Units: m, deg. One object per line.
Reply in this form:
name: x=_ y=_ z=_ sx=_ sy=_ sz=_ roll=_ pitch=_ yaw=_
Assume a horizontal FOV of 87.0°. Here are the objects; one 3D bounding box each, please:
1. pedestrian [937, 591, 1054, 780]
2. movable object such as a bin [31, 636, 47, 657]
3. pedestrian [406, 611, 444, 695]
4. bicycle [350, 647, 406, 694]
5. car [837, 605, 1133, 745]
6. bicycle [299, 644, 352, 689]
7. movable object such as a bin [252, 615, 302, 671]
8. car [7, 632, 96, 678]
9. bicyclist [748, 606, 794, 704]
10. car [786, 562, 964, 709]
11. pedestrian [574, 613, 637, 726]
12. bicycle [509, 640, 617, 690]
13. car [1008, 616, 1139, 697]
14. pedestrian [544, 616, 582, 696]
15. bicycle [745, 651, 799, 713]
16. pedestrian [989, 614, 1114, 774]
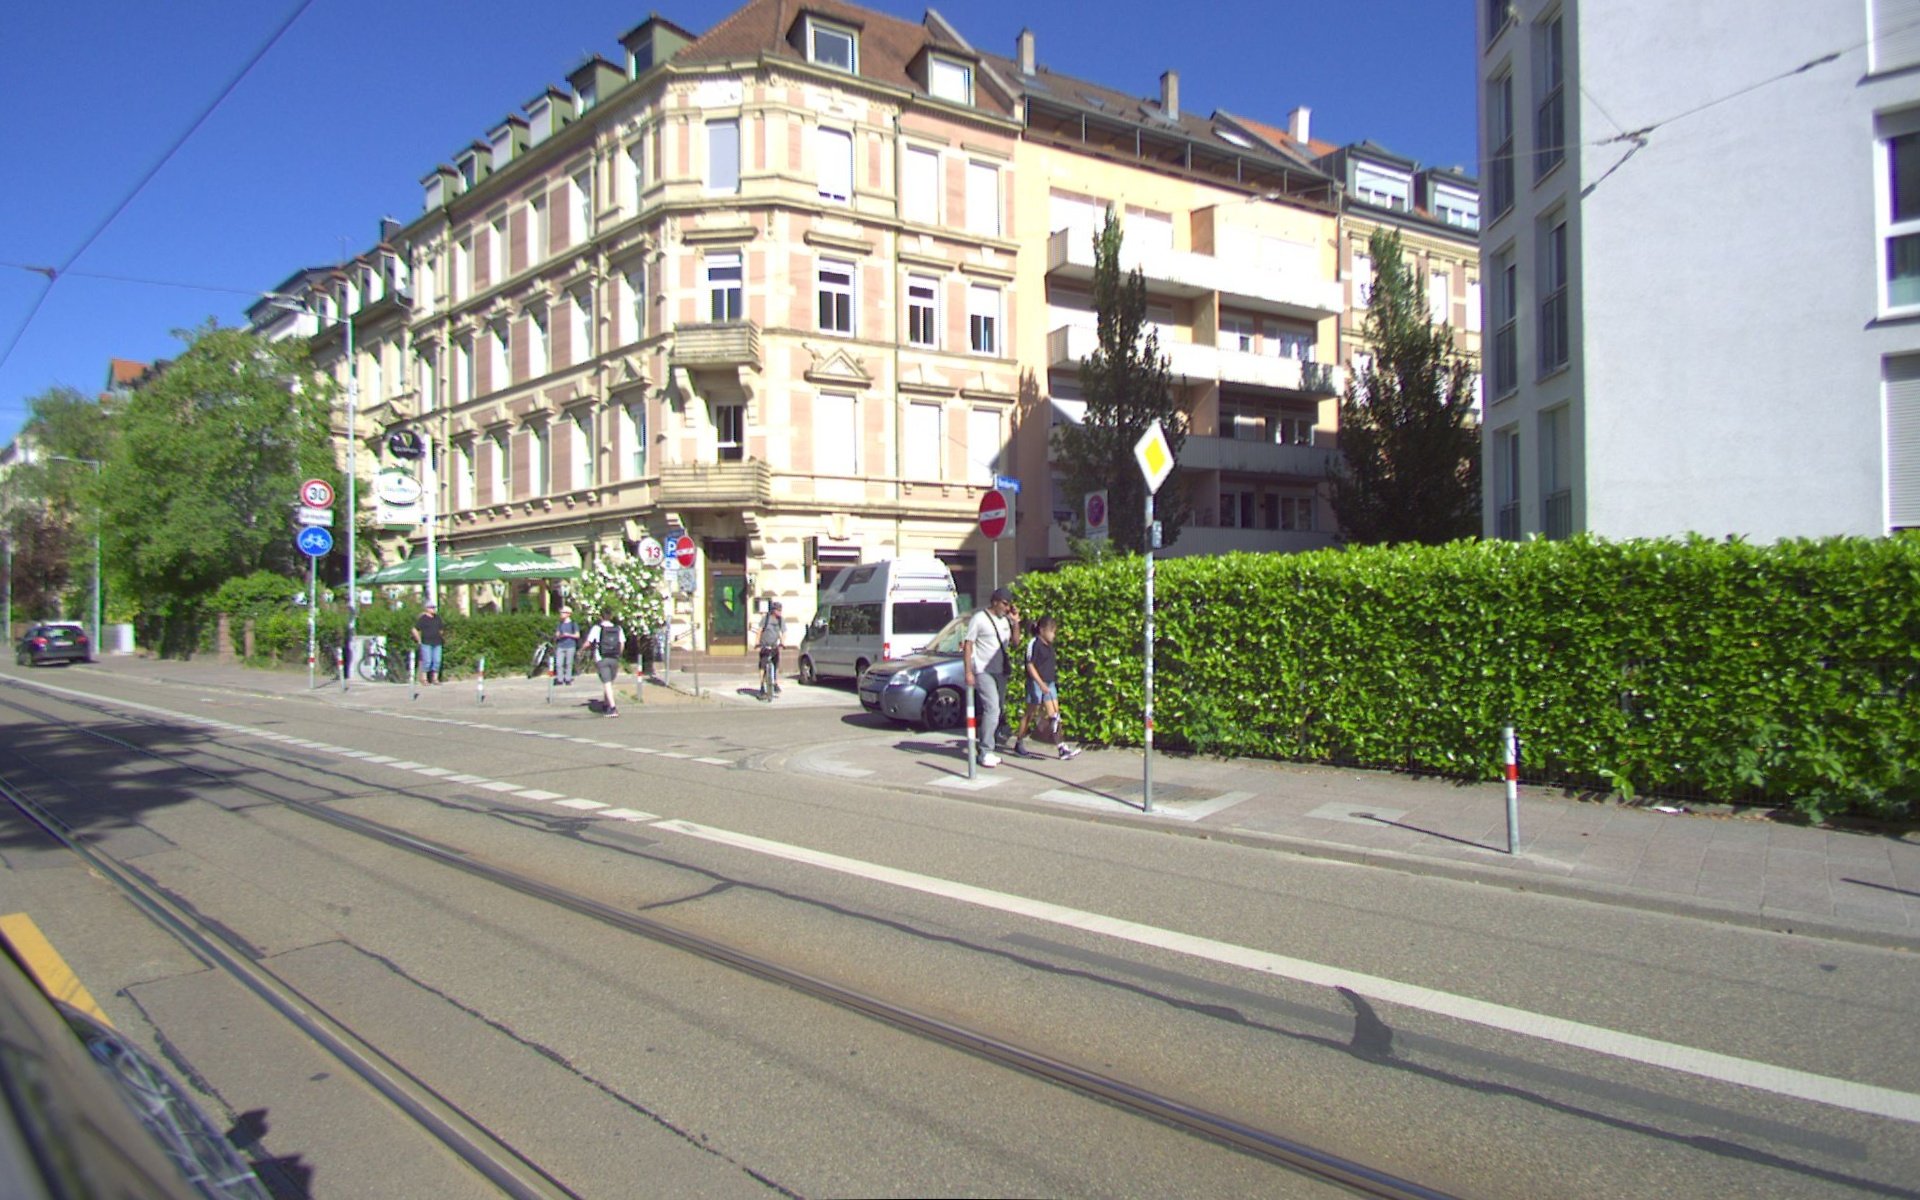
pedestrian: x=0.348 y=0.797 z=9.872 sx=0.808 sy=1.727 sz=0.747 roll=-2 pitch=0 yaw=41
movable object such as a bin: x=-52.527 y=2.652 z=57.720 sx=0.664 sy=1.184 sz=0.583 roll=-2 pitch=-2 yaw=36
pedestrian: x=-11.559 y=1.131 z=21.863 sx=0.538 sy=1.795 sz=0.551 roll=-1 pitch=-1 yaw=37
bicycle: x=-12.990 y=1.562 z=22.570 sx=1.776 sy=0.988 sz=0.522 roll=-2 pitch=-2 yaw=41
car: x=0.388 y=0.994 z=14.908 sx=3.984 sy=1.820 sz=1.797 roll=1 pitch=-1 yaw=-28
bicycle: x=-15.820 y=1.633 z=25.218 sx=2.222 sy=1.046 sz=0.508 roll=-2 pitch=-2 yaw=41
movable object such as a bin: x=-22.583 y=1.408 z=33.491 sx=1.268 sy=1.744 sz=1.045 roll=-3 pitch=1 yaw=-34
car: x=-33.865 y=2.019 z=37.687 sx=4.586 sy=1.588 sz=1.845 roll=-2 pitch=-4 yaw=41
bicyclist: x=-3.707 y=1.054 z=19.857 sx=0.694 sy=1.868 sz=0.989 roll=0 pitch=-1 yaw=-22
car: x=-2.000 y=0.707 z=22.260 sx=1.860 sy=2.862 sz=4.797 roll=1 pitch=-1 yaw=-32
pedestrian: x=-5.806 y=1.113 z=16.552 sx=0.683 sy=1.781 sz=0.867 roll=1 pitch=-2 yaw=-43
bicycle: x=-9.366 y=1.505 z=23.932 sx=2.211 sy=1.052 sz=0.877 roll=0 pitch=0 yaw=-40
car: x=2.663 y=1.283 z=24.387 sx=1.428 sy=1.765 sz=3.353 roll=1 pitch=0 yaw=-30
pedestrian: x=-8.501 y=1.173 z=21.696 sx=0.695 sy=1.667 sz=0.835 roll=0 pitch=-1 yaw=-18
bicycle: x=-3.705 y=1.572 z=19.835 sx=0.694 sy=1.063 sz=1.841 roll=0 pitch=0 yaw=-22
pedestrian: x=0.920 y=0.907 z=10.204 sx=0.956 sy=1.489 sz=0.747 roll=-2 pitch=0 yaw=41
